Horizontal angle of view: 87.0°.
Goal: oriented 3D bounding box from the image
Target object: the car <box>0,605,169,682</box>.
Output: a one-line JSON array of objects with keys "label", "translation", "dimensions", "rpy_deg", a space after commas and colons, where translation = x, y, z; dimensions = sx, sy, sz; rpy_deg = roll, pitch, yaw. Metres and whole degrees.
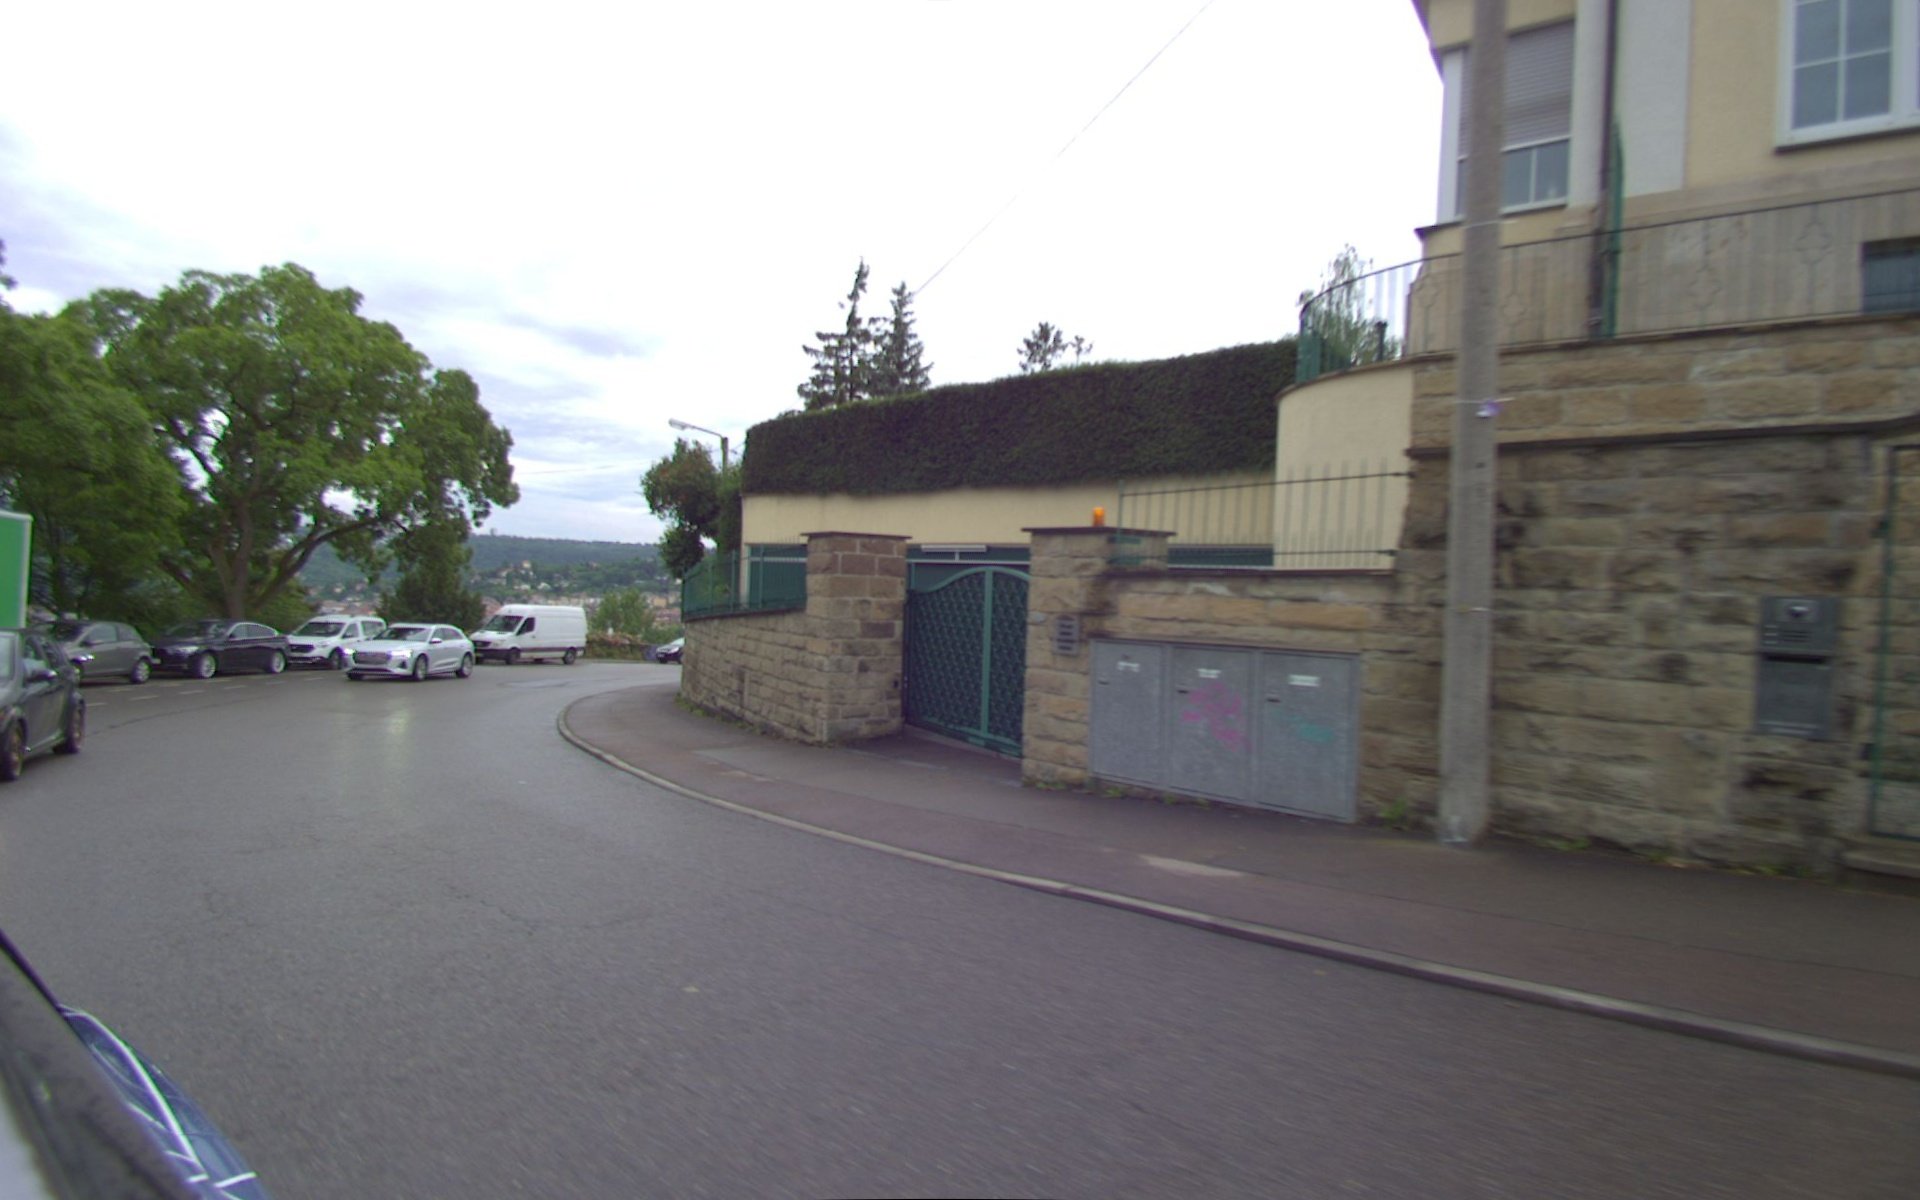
[{"label": "car", "translation": [-19.855, 0.913, 22.564], "dimensions": [1.711, 1.515, 4.144], "rpy_deg": [2, -1, -11]}]

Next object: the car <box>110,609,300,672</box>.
[{"label": "car", "translation": [-20.726, 1.071, 28.104], "dimensions": [1.838, 1.554, 4.899], "rpy_deg": [2, -1, -4]}]

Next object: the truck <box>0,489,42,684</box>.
[{"label": "truck", "translation": [-17.346, -0.315, 14.728], "dimensions": [2.734, 3.497, 8.962], "rpy_deg": [3, -2, -21]}]

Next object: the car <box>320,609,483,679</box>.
[{"label": "car", "translation": [-16.265, 1.221, 29.832], "dimensions": [2.161, 1.721, 4.885], "rpy_deg": [4, 0, -2]}]

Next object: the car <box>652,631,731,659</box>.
[{"label": "car", "translation": [-14.352, 2.429, 54.275], "dimensions": [1.696, 1.455, 3.903], "rpy_deg": [0, -3, 33]}]

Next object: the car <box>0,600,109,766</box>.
[{"label": "car", "translation": [-10.340, 0.759, 10.307], "dimensions": [1.754, 1.497, 4.419], "rpy_deg": [3, -3, -30]}]

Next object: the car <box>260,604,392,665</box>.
[{"label": "car", "translation": [-21.014, 1.137, 33.779], "dimensions": [1.727, 1.835, 4.426], "rpy_deg": [2, -1, -3]}]

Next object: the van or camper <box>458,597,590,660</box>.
[{"label": "van or camper", "translation": [-19.251, 1.221, 45.029], "dimensions": [2.056, 2.600, 5.854], "rpy_deg": [1, 0, 17]}]
